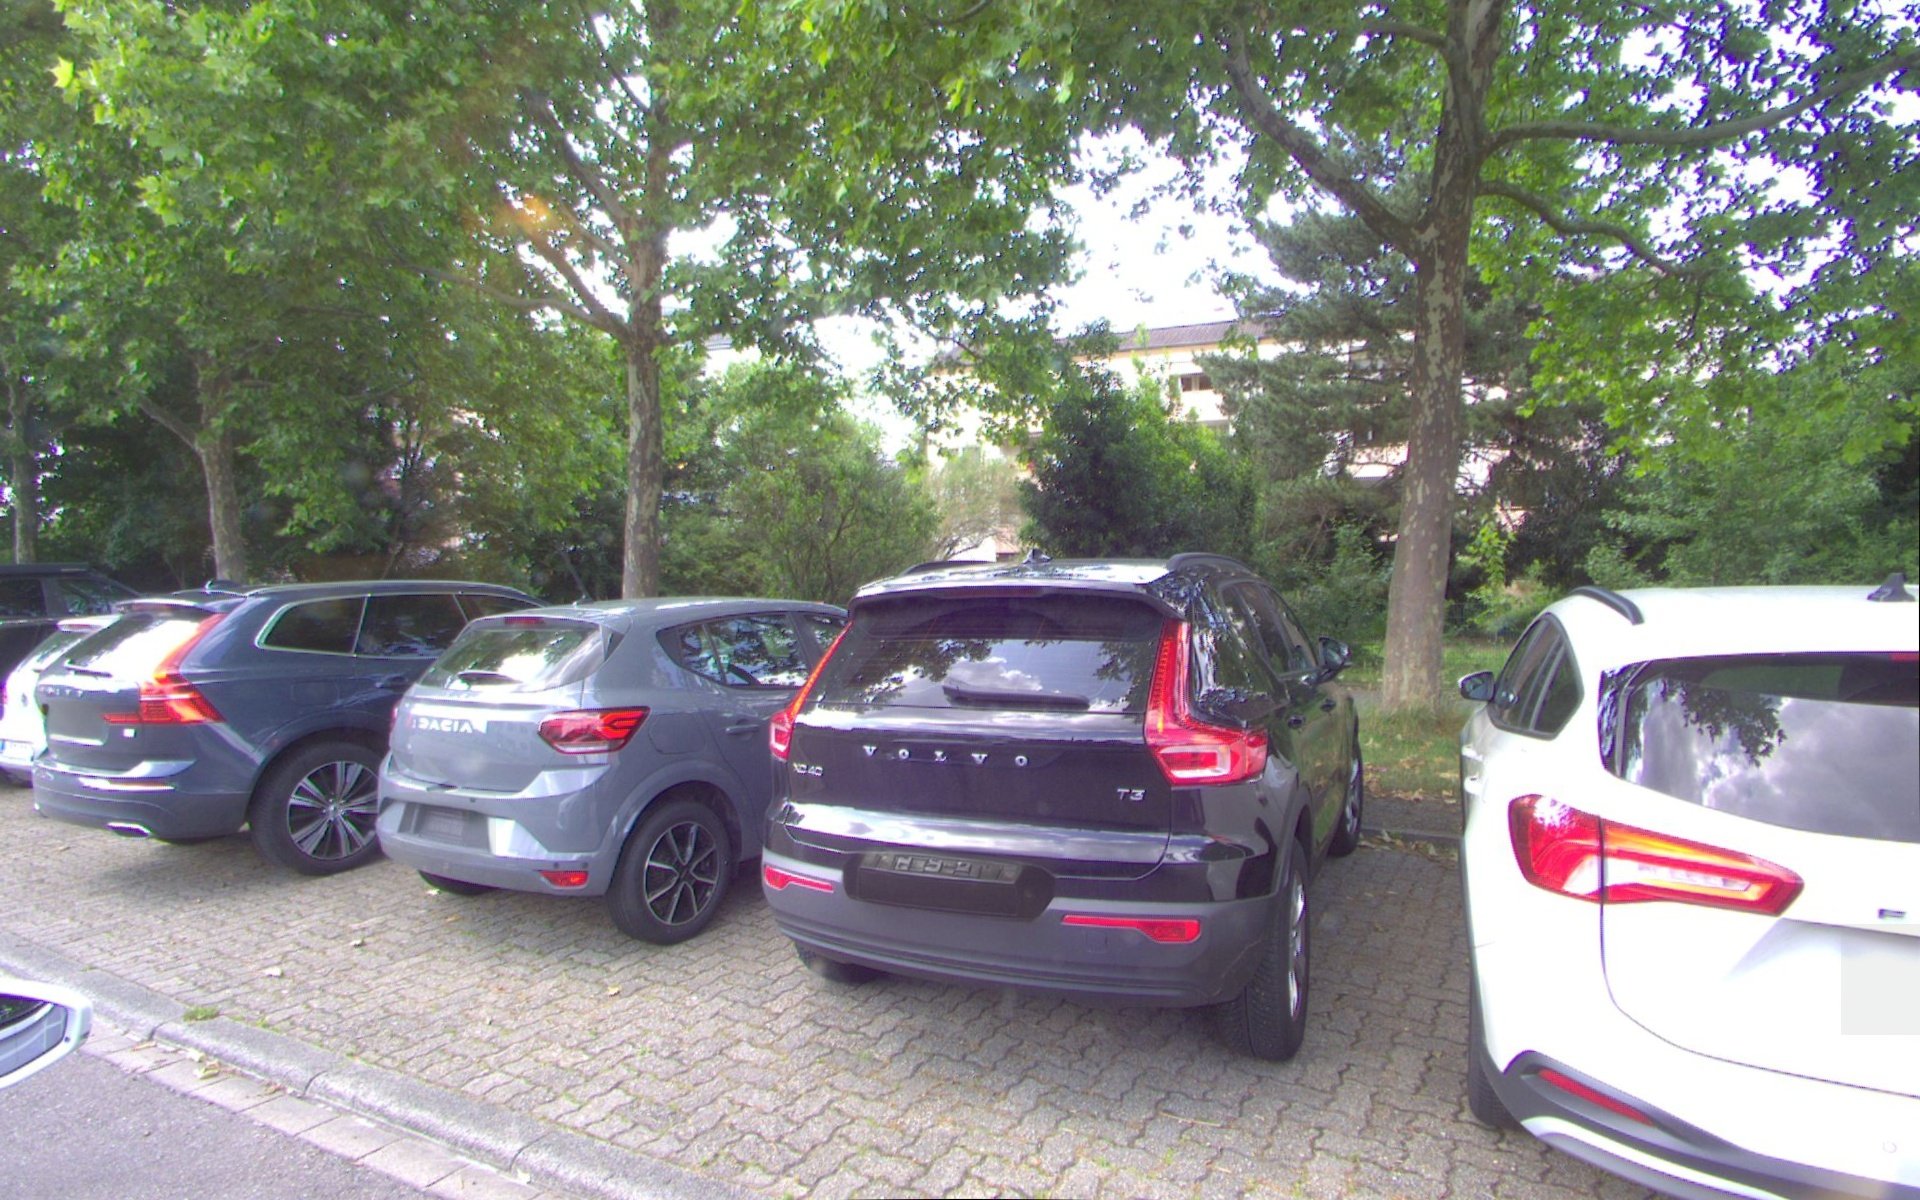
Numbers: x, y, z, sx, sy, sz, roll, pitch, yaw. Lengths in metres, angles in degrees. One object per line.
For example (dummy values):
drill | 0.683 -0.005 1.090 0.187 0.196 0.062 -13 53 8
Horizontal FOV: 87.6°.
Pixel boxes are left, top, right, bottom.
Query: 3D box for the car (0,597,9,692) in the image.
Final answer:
car | -18.792 0.836 16.226 1.826 1.683 4.543 0 1 26

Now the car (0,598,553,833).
car | -5.845 0.773 8.813 1.730 1.514 3.959 0 1 30

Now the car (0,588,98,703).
car | -16.426 0.744 15.326 1.828 1.790 4.538 0 1 30

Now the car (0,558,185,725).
car | -13.251 0.547 13.109 1.828 2.152 4.538 0 1 30

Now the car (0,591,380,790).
car | -8.235 0.749 10.049 1.725 1.627 3.969 0 1 20

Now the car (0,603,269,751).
car | -10.610 0.842 11.554 1.730 1.514 3.959 -1 1 30

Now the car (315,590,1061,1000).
car | -1.137 0.724 6.104 1.731 1.521 4.371 0 1 32

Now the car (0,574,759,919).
car | -3.602 0.675 7.117 1.731 1.661 4.371 0 1 32

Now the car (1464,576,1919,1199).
car | 2.838 0.668 3.598 1.818 1.493 4.654 0 1 27

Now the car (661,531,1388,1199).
car | 0.919 0.629 4.826 1.818 1.648 4.654 0 1 27
